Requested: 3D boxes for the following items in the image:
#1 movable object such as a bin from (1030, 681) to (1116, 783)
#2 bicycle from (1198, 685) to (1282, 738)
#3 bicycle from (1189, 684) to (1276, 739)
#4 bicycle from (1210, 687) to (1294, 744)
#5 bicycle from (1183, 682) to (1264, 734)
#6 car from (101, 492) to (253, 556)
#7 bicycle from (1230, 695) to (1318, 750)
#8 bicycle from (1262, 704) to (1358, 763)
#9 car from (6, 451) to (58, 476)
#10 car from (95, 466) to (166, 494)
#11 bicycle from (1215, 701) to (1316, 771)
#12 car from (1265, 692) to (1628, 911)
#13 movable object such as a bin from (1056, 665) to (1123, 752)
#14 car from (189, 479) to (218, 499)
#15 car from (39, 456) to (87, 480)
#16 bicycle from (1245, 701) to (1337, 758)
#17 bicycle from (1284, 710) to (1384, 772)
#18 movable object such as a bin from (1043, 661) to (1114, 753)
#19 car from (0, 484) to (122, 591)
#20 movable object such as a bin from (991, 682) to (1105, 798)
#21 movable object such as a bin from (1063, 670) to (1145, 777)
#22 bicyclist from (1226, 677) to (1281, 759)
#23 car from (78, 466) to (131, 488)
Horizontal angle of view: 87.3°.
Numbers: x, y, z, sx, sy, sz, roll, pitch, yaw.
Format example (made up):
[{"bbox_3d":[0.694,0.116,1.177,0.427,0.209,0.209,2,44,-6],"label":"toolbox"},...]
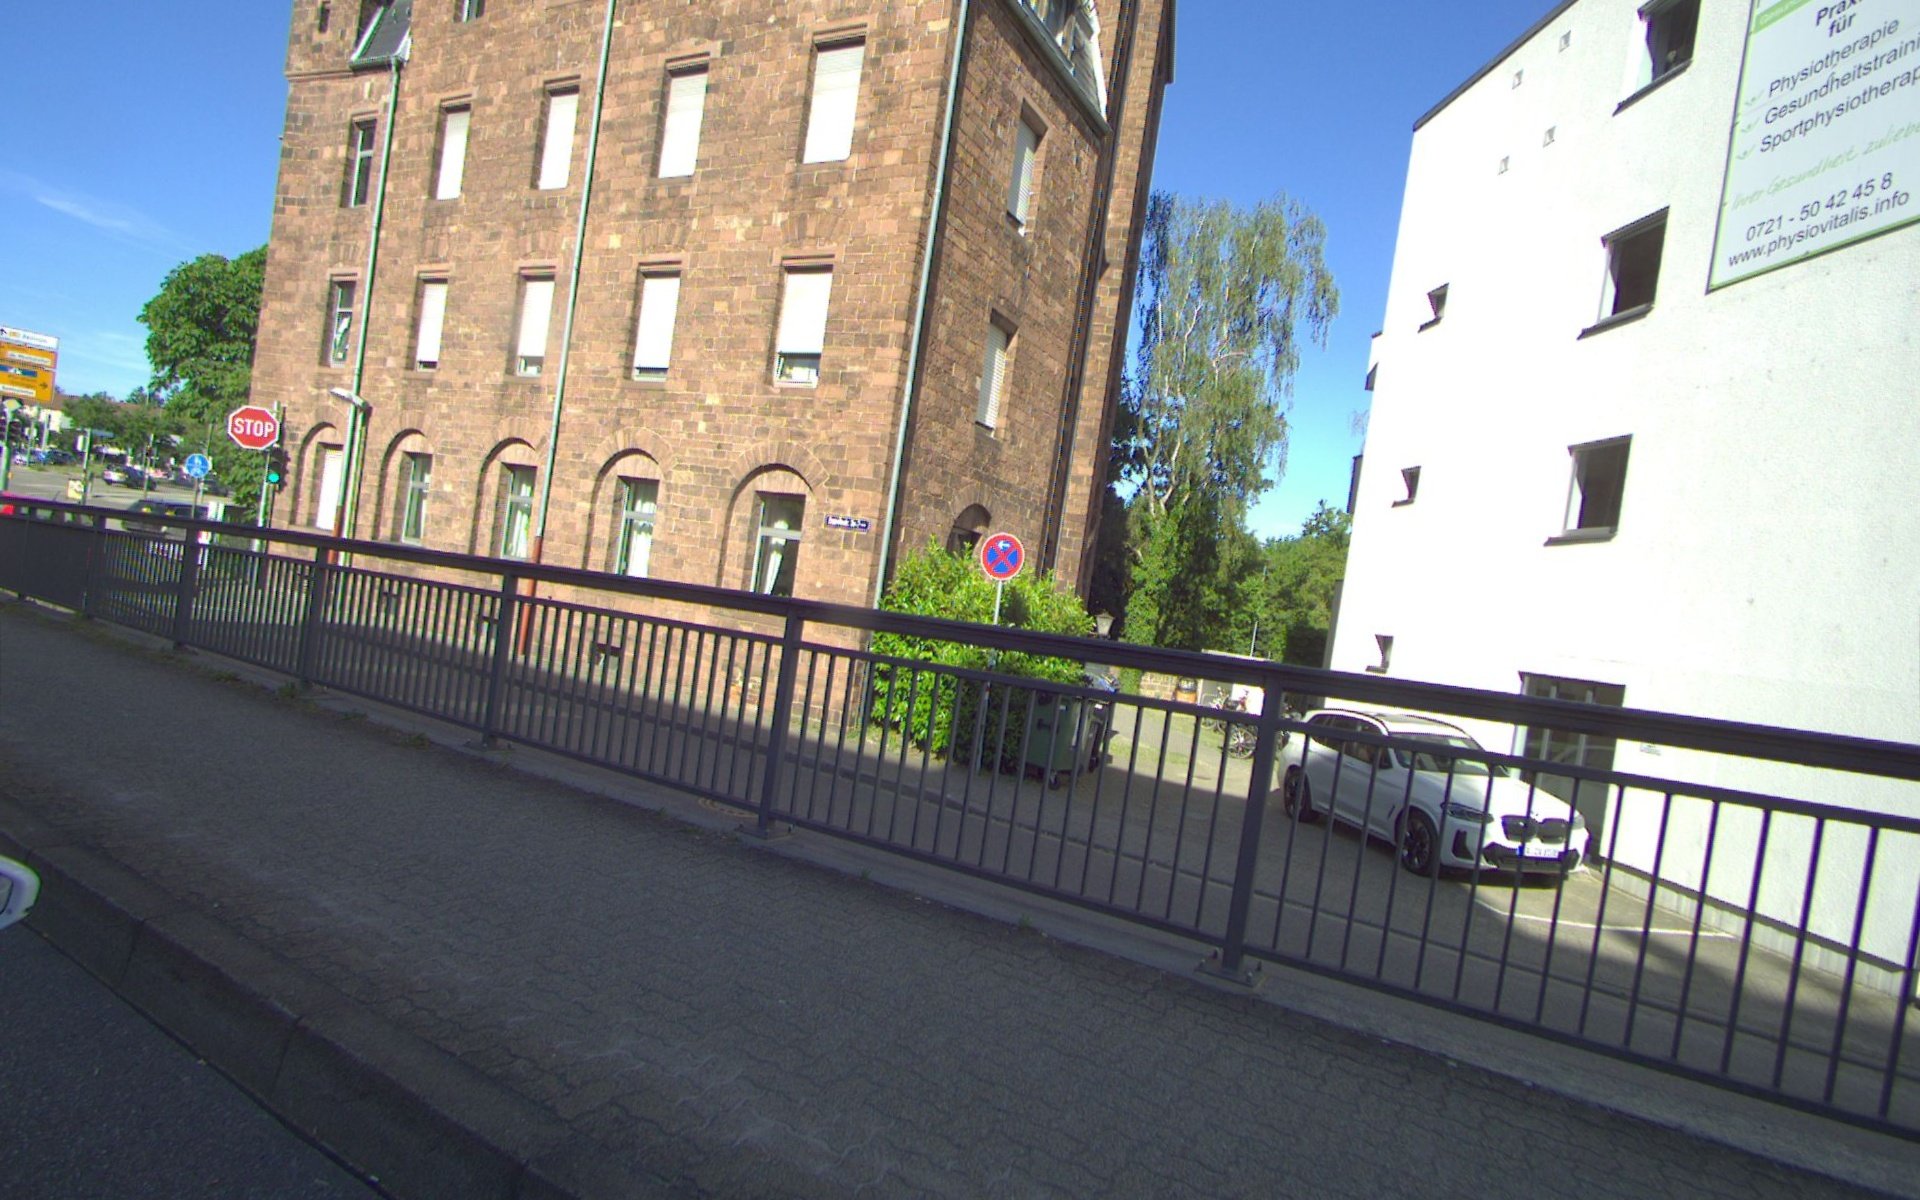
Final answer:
[{"bbox_3d":[1.759,2.000,15.482,1.009,1.307,1.007,10,0,14],"label":"movable object such as a bin"},{"bbox_3d":[7.907,3.135,28.413,2.075,1.174,0.664,8,1,-9],"label":"bicycle"},{"bbox_3d":[7.406,3.028,27.381,2.075,1.174,0.664,8,1,-9],"label":"bicycle"},{"bbox_3d":[7.667,3.026,26.448,1.889,1.174,0.664,8,1,-6],"label":"bicycle"},{"bbox_3d":[7.664,3.137,29.266,2.075,1.174,0.664,8,1,-9],"label":"bicycle"},{"bbox_3d":[-27.954,-2.660,36.105,1.695,1.623,4.298,10,0,4],"label":"car"},{"bbox_3d":[7.869,3.083,25.281,1.889,1.065,0.664,8,1,-6],"label":"bicycle"},{"bbox_3d":[8.128,3.095,23.365,1.889,1.065,0.664,8,1,-6],"label":"bicycle"},{"bbox_3d":[-79.894,-11.734,86.648,1.860,1.598,3.978,8,1,-22],"label":"car"},{"bbox_3d":[-63.584,-9.166,77.229,1.968,1.459,4.809,8,1,-11],"label":"car"},{"bbox_3d":[6.463,2.882,21.326,1.807,1.155,0.688,8,2,-8],"label":"bicycle"},{"bbox_3d":[5.971,2.405,13.128,1.814,1.707,4.521,8,0,-9],"label":"car"},{"bbox_3d":[2.645,2.184,20.459,1.009,1.539,1.007,9,0,14],"label":"movable object such as a bin"},{"bbox_3d":[-69.737,-10.242,92.755,1.984,1.459,4.247,7,2,-38],"label":"car"},{"bbox_3d":[-82.313,-12.097,92.350,1.860,1.598,3.978,8,1,-22],"label":"car"},{"bbox_3d":[7.973,3.115,24.253,1.889,1.065,0.664,8,1,-6],"label":"bicycle"},{"bbox_3d":[8.333,3.139,22.451,1.889,1.065,0.664,8,1,-6],"label":"bicycle"},{"bbox_3d":[2.284,2.018,19.270,1.009,1.539,1.007,9,0,14],"label":"movable object such as a bin"},{"bbox_3d":[-17.500,-1.257,18.800,3.427,1.540,1.724,10,1,32],"label":"car"},{"bbox_3d":[1.191,1.852,13.520,1.011,1.307,1.005,10,0,29],"label":"movable object such as a bin"},{"bbox_3d":[2.400,2.017,16.663,1.009,1.539,1.007,9,0,14],"label":"movable object such as a bin"},{"bbox_3d":[6.353,2.551,21.822,0.685,1.627,0.686,9,0,-9],"label":"bicyclist"},{"bbox_3d":[-70.742,-10.163,83.288,1.761,1.375,4.059,8,2,-18],"label":"car"}]
